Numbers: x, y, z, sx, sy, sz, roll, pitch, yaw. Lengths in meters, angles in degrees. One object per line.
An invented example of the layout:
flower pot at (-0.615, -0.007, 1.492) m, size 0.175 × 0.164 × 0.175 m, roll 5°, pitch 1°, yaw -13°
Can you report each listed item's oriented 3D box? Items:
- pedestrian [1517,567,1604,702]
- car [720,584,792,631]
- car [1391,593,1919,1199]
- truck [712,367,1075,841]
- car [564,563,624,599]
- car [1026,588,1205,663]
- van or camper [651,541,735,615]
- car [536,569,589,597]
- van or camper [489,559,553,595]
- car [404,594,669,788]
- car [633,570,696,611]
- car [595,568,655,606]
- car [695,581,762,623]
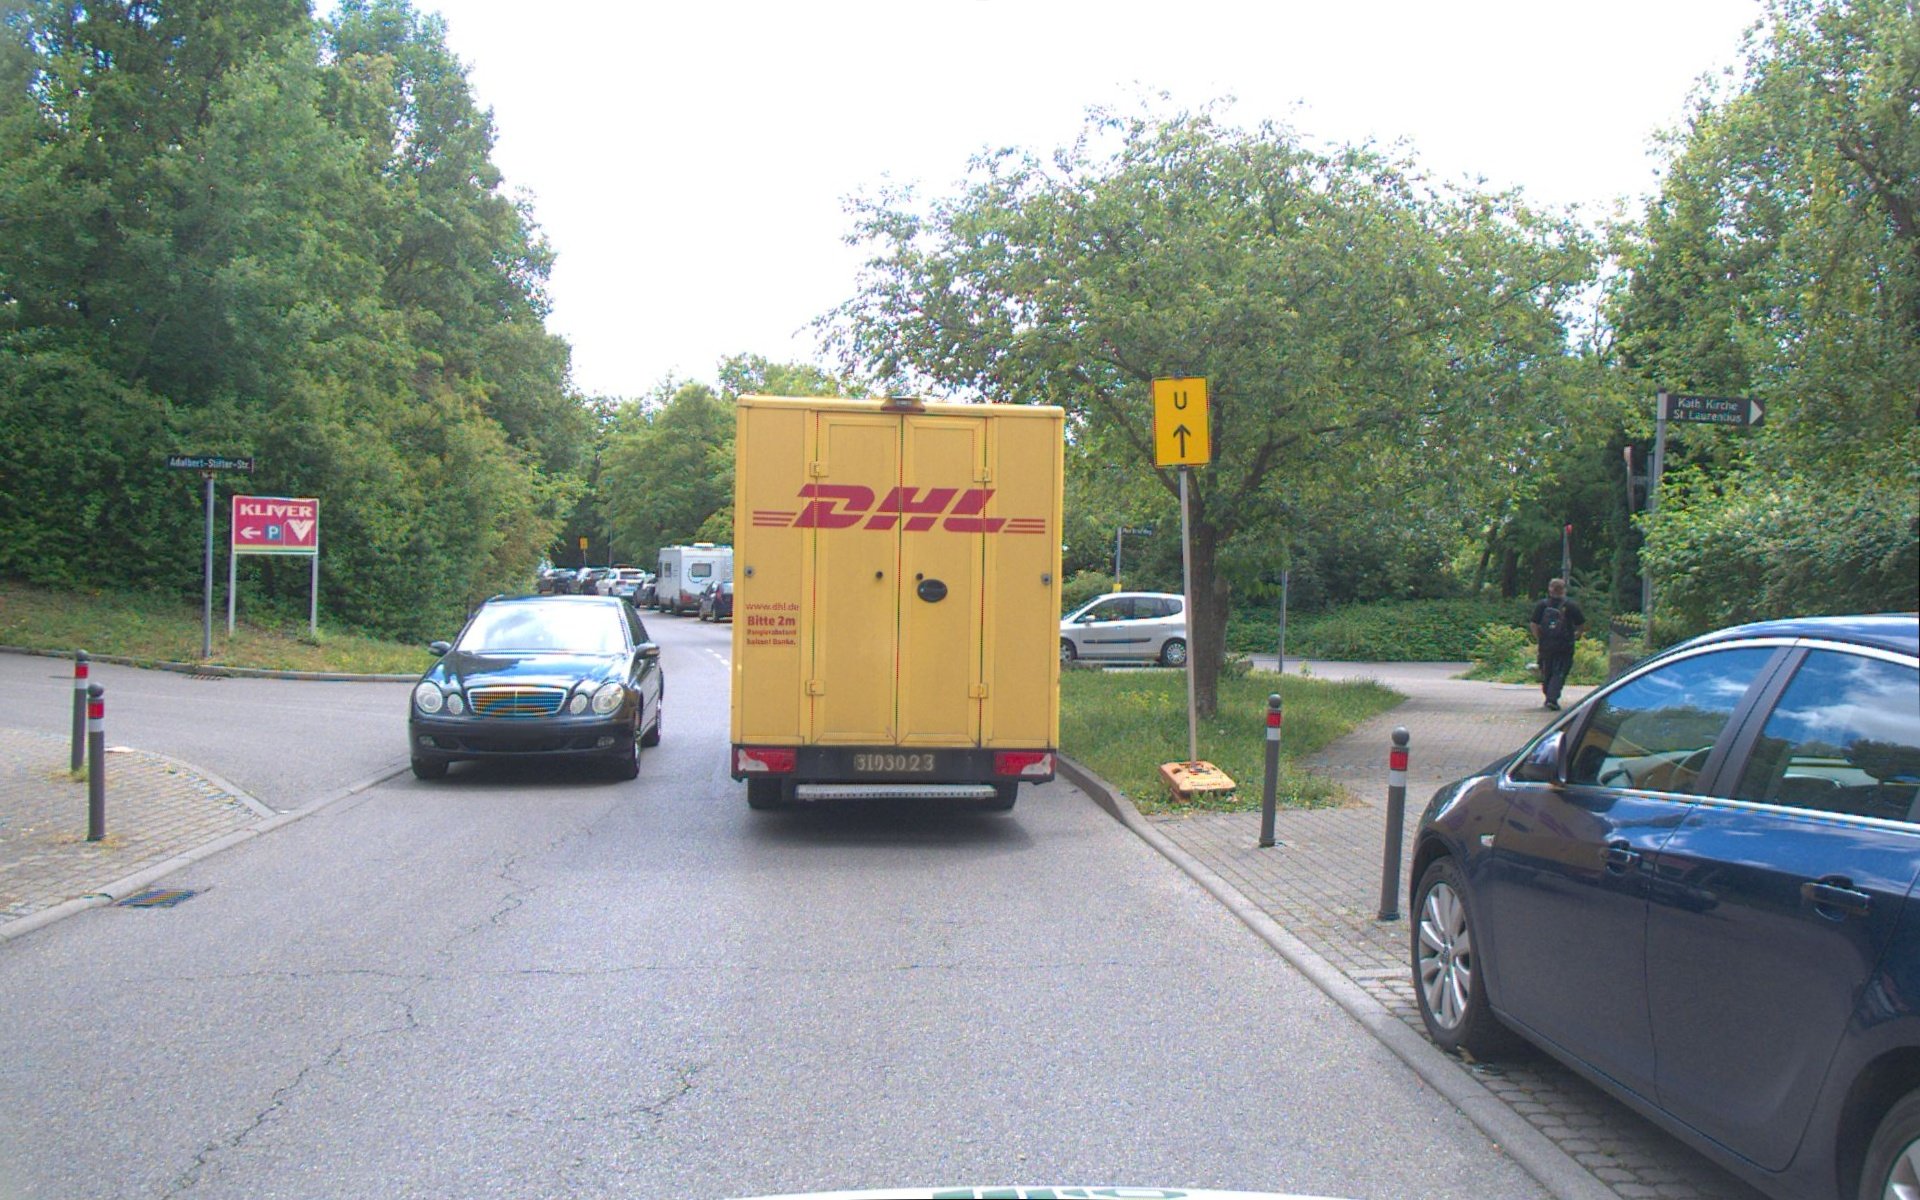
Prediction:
pedestrian at (8.040, 0.462, 22.158) m, size 0.816 × 1.767 × 0.784 m, roll 1°, pitch -1°, yaw -7°
car at (-6.913, 0.220, 55.697) m, size 1.747 × 1.459 × 4.314 m, roll -1°, pitch 1°, yaw -16°
car at (2.512, 0.716, 4.117) m, size 1.657 × 1.445 × 3.998 m, roll 0°, pitch 0°, yaw -3°
truck at (-0.547, 0.013, 13.316) m, size 2.181 × 2.858 × 6.568 m, roll 0°, pitch 0°, yaw -3°
car at (-19.268, -1.024, 86.968) m, size 1.971 × 1.654 × 4.240 m, roll -3°, pitch 4°, yaw -28°
car at (3.227, 0.535, 34.871) m, size 3.567 × 1.481 × 1.847 m, roll 1°, pitch 0°, yaw -1°
van or camper at (-11.308, -0.949, 69.744) m, size 2.299 × 2.919 × 6.113 m, roll 1°, pitch 1°, yaw -21°
car at (-22.372, -0.982, 93.052) m, size 1.780 × 1.489 × 3.957 m, roll 0°, pitch 2°, yaw -32°
van or camper at (-26.012, -1.391, 97.899) m, size 1.977 × 1.953 × 5.201 m, roll -2°, pitch 3°, yaw -35°
car at (-3.566, 0.677, 14.639) m, size 1.718 × 1.444 × 4.361 m, roll 0°, pitch 0°, yaw -7°
car at (-13.495, -0.446, 75.442) m, size 1.691 × 1.618 × 3.968 m, roll -7°, pitch 4°, yaw -25°
car at (-16.575, -0.649, 81.653) m, size 1.848 × 1.718 × 4.543 m, roll 1°, pitch 2°, yaw -25°
car at (-8.771, 0.067, 62.577) m, size 1.704 × 1.545 × 3.865 m, roll -1°, pitch 0°, yaw -21°
